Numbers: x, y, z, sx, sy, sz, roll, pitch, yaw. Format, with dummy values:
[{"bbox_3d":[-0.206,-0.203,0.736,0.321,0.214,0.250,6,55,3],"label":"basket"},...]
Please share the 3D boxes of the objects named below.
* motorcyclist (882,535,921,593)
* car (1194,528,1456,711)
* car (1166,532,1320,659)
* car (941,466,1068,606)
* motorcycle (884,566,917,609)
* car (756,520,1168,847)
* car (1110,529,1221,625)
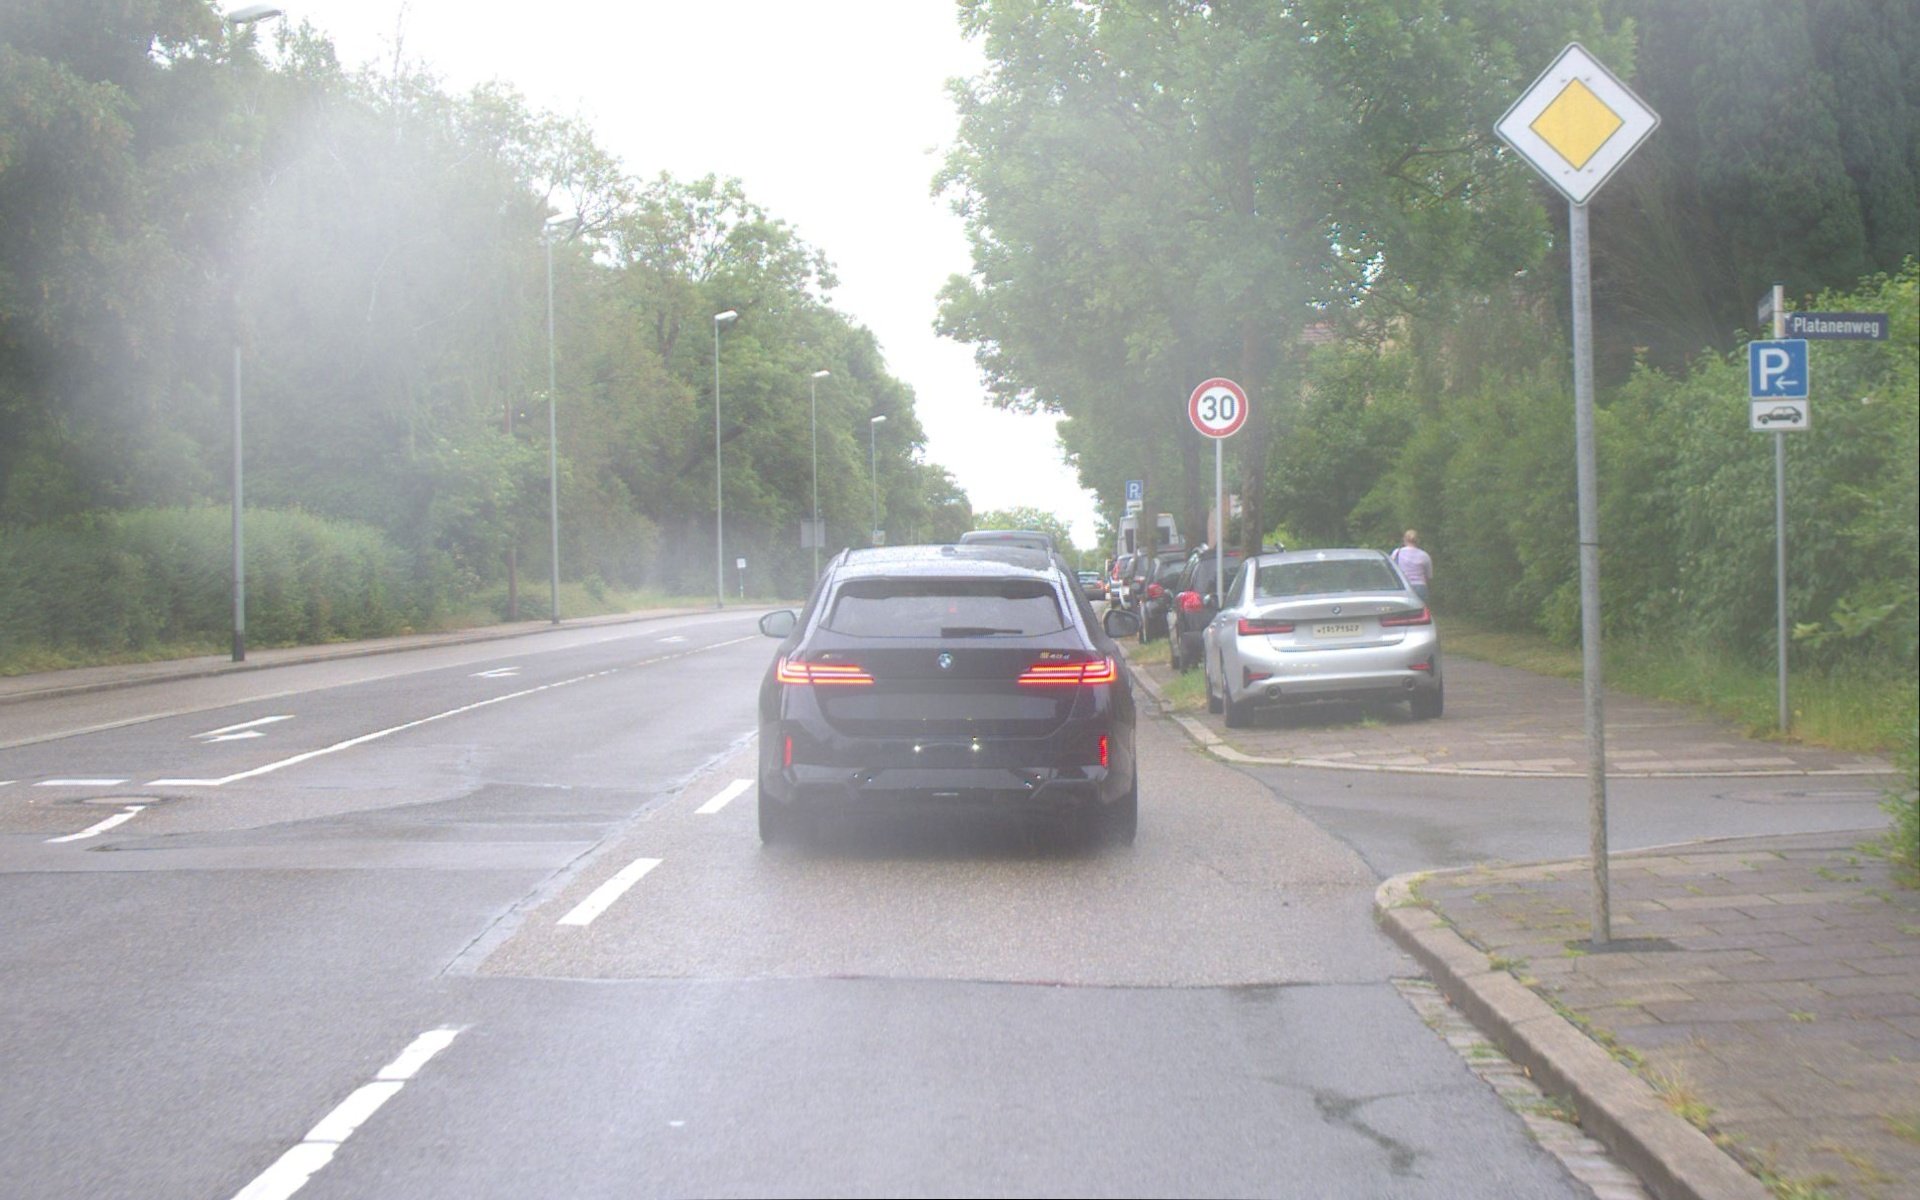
[{"bbox_3d":[-1.621,-1.000,95.248,1.039,1.562,0.855,1,1,-1],"label":"motorcyclist"},{"bbox_3d":[3.082,0.111,29.848,1.935,1.437,4.408,0,1,2],"label":"car"},{"bbox_3d":[3.431,-0.084,42.143,1.589,1.455,3.562,-1,1,0],"label":"car"},{"bbox_3d":[0.582,-0.908,47.600,1.629,1.826,4.001,-1,2,-1],"label":"car"},{"bbox_3d":[-1.638,-0.354,95.194,0.876,1.120,2.741,1,1,-1],"label":"motorcycle"},{"bbox_3d":[0.022,0.346,18.128,1.897,1.484,4.000,2,1,0],"label":"car"},{"bbox_3d":[3.307,-0.394,55.761,1.589,1.481,3.562,-1,1,0],"label":"car"}]
